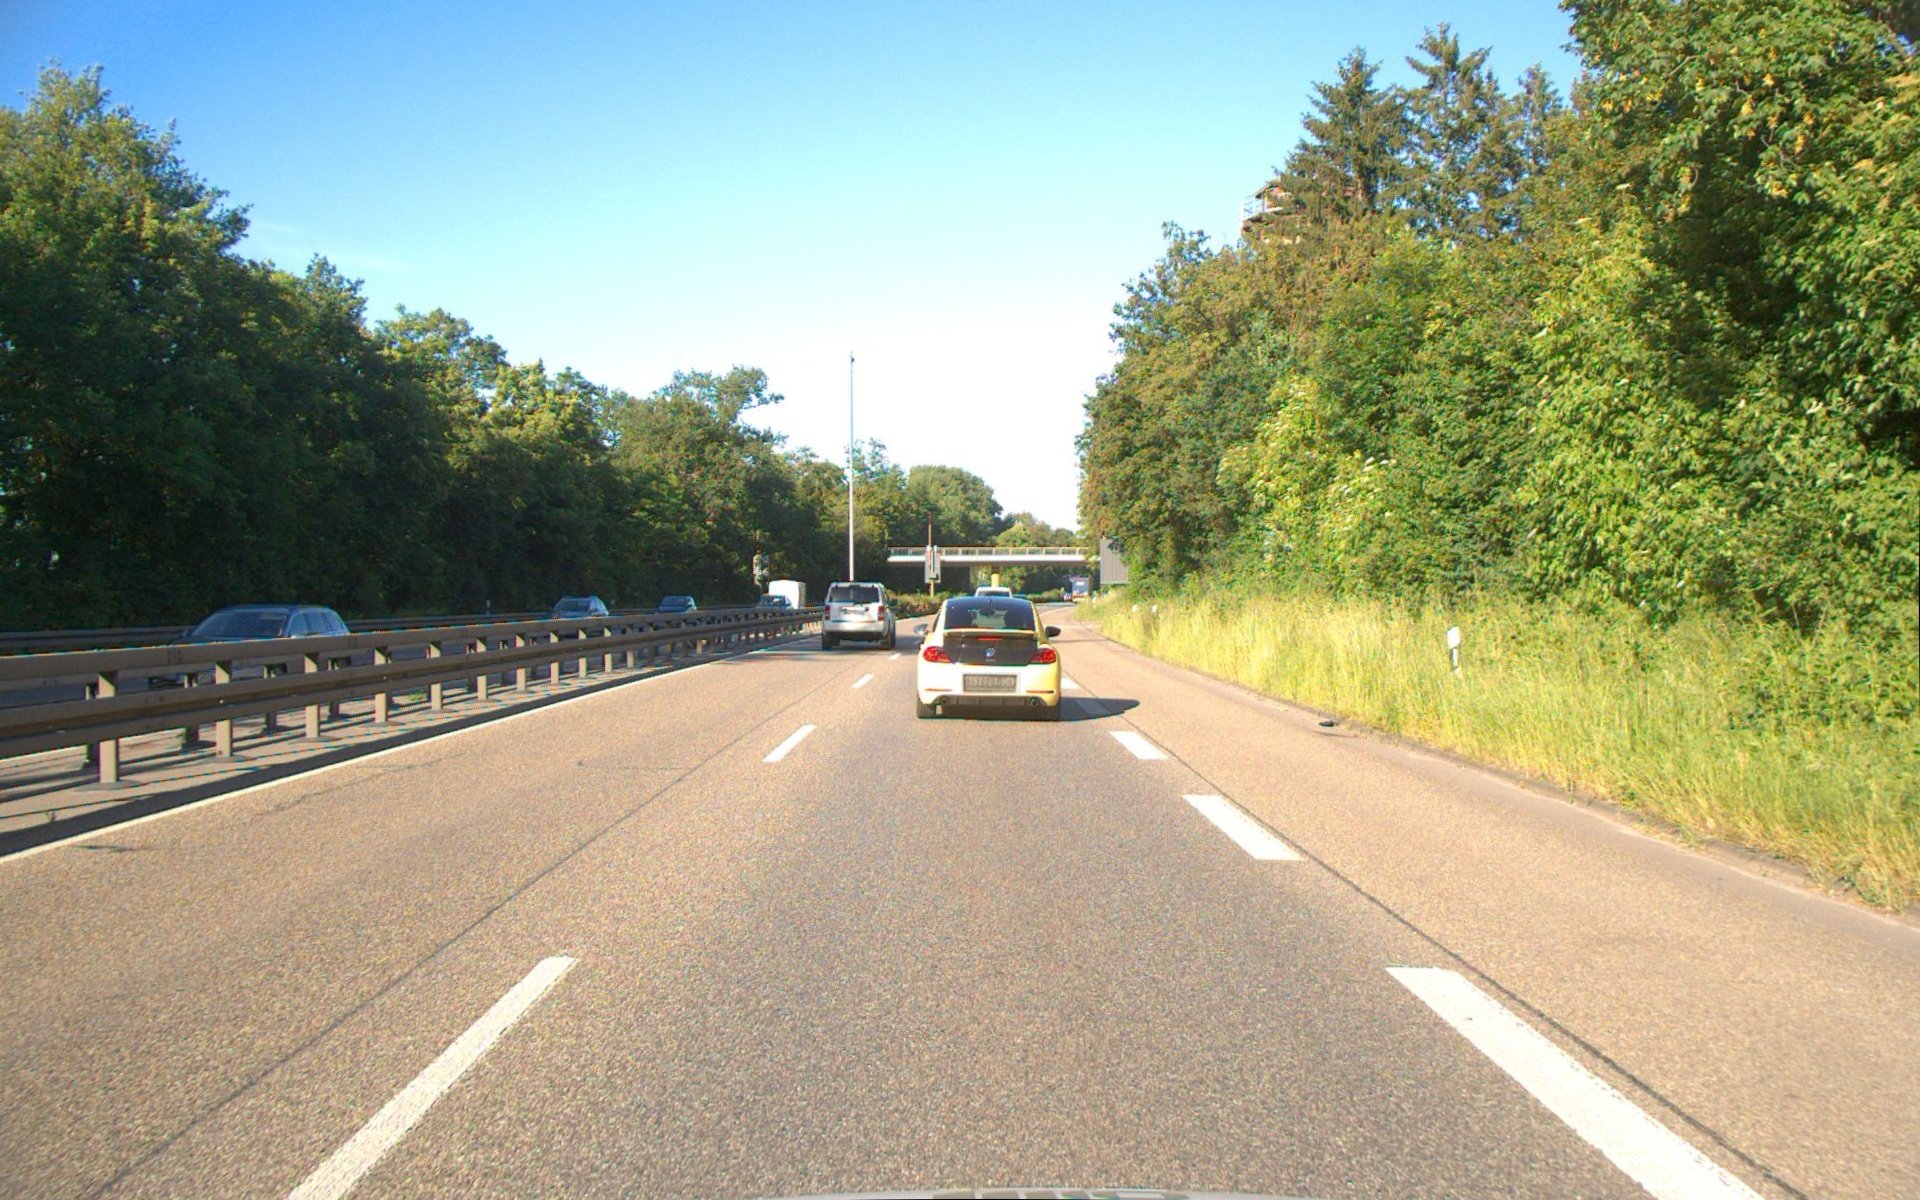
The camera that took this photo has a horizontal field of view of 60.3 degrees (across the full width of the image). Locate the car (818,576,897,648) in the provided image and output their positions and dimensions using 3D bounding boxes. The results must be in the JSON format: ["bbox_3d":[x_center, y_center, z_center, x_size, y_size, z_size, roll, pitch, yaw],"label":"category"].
[{"bbox_3d":[-2.786,0.299,45.214,2.044,1.860,3.997,-1,0,-3],"label":"car"}]

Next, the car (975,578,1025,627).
[{"bbox_3d":[1.513,0.083,63.090,1.825,1.801,4.470,-1,0,1],"label":"car"}]

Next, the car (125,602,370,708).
[{"bbox_3d":[-11.198,0.805,26.411,1.761,1.492,4.697,-1,0,1],"label":"car"}]

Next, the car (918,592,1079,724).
[{"bbox_3d":[0.405,0.668,21.416,1.841,1.487,4.355,1,0,-1],"label":"car"}]

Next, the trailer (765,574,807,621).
[{"bbox_3d":[-9.549,-0.136,91.038,1.953,2.479,4.605,-1,0,-1],"label":"trailer"}]

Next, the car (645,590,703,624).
[{"bbox_3d":[-14.195,0.316,82.287,2.029,1.642,5.058,0,0,0],"label":"car"}]

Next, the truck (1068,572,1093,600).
[{"bbox_3d":[18.973,-2.171,259.240,3.421,4.246,8.868,0,0,7],"label":"truck"}]

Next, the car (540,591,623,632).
[{"bbox_3d":[-14.449,0.419,63.443,2.029,1.493,4.985,0,0,0],"label":"car"}]

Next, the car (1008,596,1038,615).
[{"bbox_3d":[4.914,0.447,128.300,1.951,1.422,4.003,0,0,7],"label":"car"}]

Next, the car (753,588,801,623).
[{"bbox_3d":[-9.483,0.252,86.113,2.029,1.779,5.223,-1,0,-1],"label":"car"}]
